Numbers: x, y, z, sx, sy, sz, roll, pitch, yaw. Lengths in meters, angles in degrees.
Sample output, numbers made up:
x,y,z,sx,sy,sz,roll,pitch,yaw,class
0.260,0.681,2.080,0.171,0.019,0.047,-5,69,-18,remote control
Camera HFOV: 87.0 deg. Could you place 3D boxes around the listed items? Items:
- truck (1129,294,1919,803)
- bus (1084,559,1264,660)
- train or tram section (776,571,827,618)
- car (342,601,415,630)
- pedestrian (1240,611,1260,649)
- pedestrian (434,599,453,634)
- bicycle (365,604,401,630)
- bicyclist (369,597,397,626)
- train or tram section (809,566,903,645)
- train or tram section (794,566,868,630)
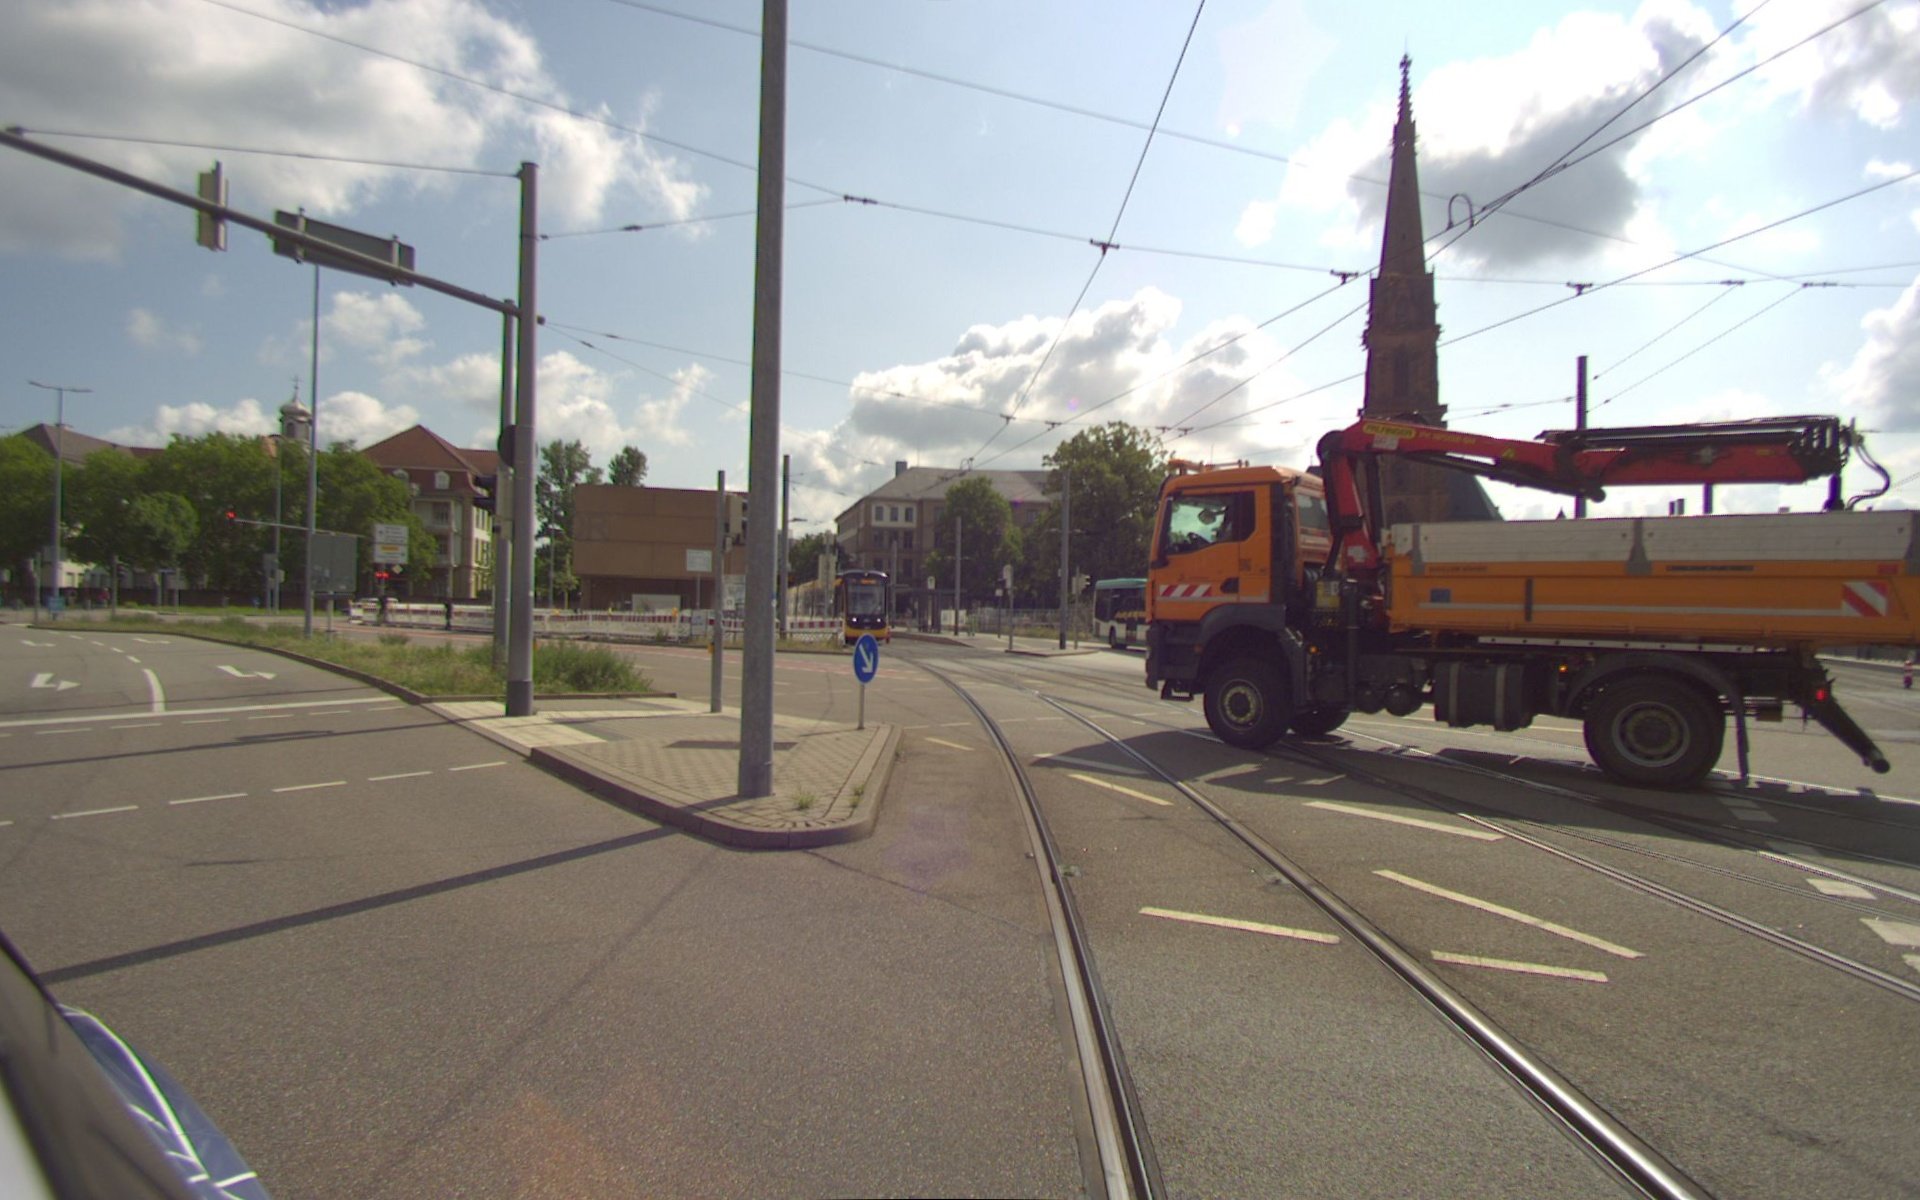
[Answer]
x,y,z,sx,sy,sz,roll,pitch,yaw,class
6.110,-0.397,10.982,8.060,4.039,2.801,0,-1,38,truck
8.692,0.452,43.583,2.868,3.648,12.406,1,-1,-11,bus
-12.934,-0.472,81.828,3.269,3.507,10.637,0,1,-13,train or tram section
-38.593,1.021,67.276,3.930,1.796,2.006,1,-1,-21,car
13.940,1.453,48.571,0.708,1.808,0.564,1,-1,-15,pedestrian
-26.905,0.863,52.715,0.643,1.777,1.003,2,-1,-42,pedestrian
-32.349,0.928,56.740,2.291,1.421,0.960,0,-1,40,bicycle
-32.374,0.623,56.765,1.774,1.575,0.768,0,-1,39,bicyclist
-5.449,0.181,50.785,3.269,3.507,10.637,0,1,-13,train or tram section
-7.992,-0.168,61.210,3.269,3.507,10.637,0,1,-13,train or tram section
